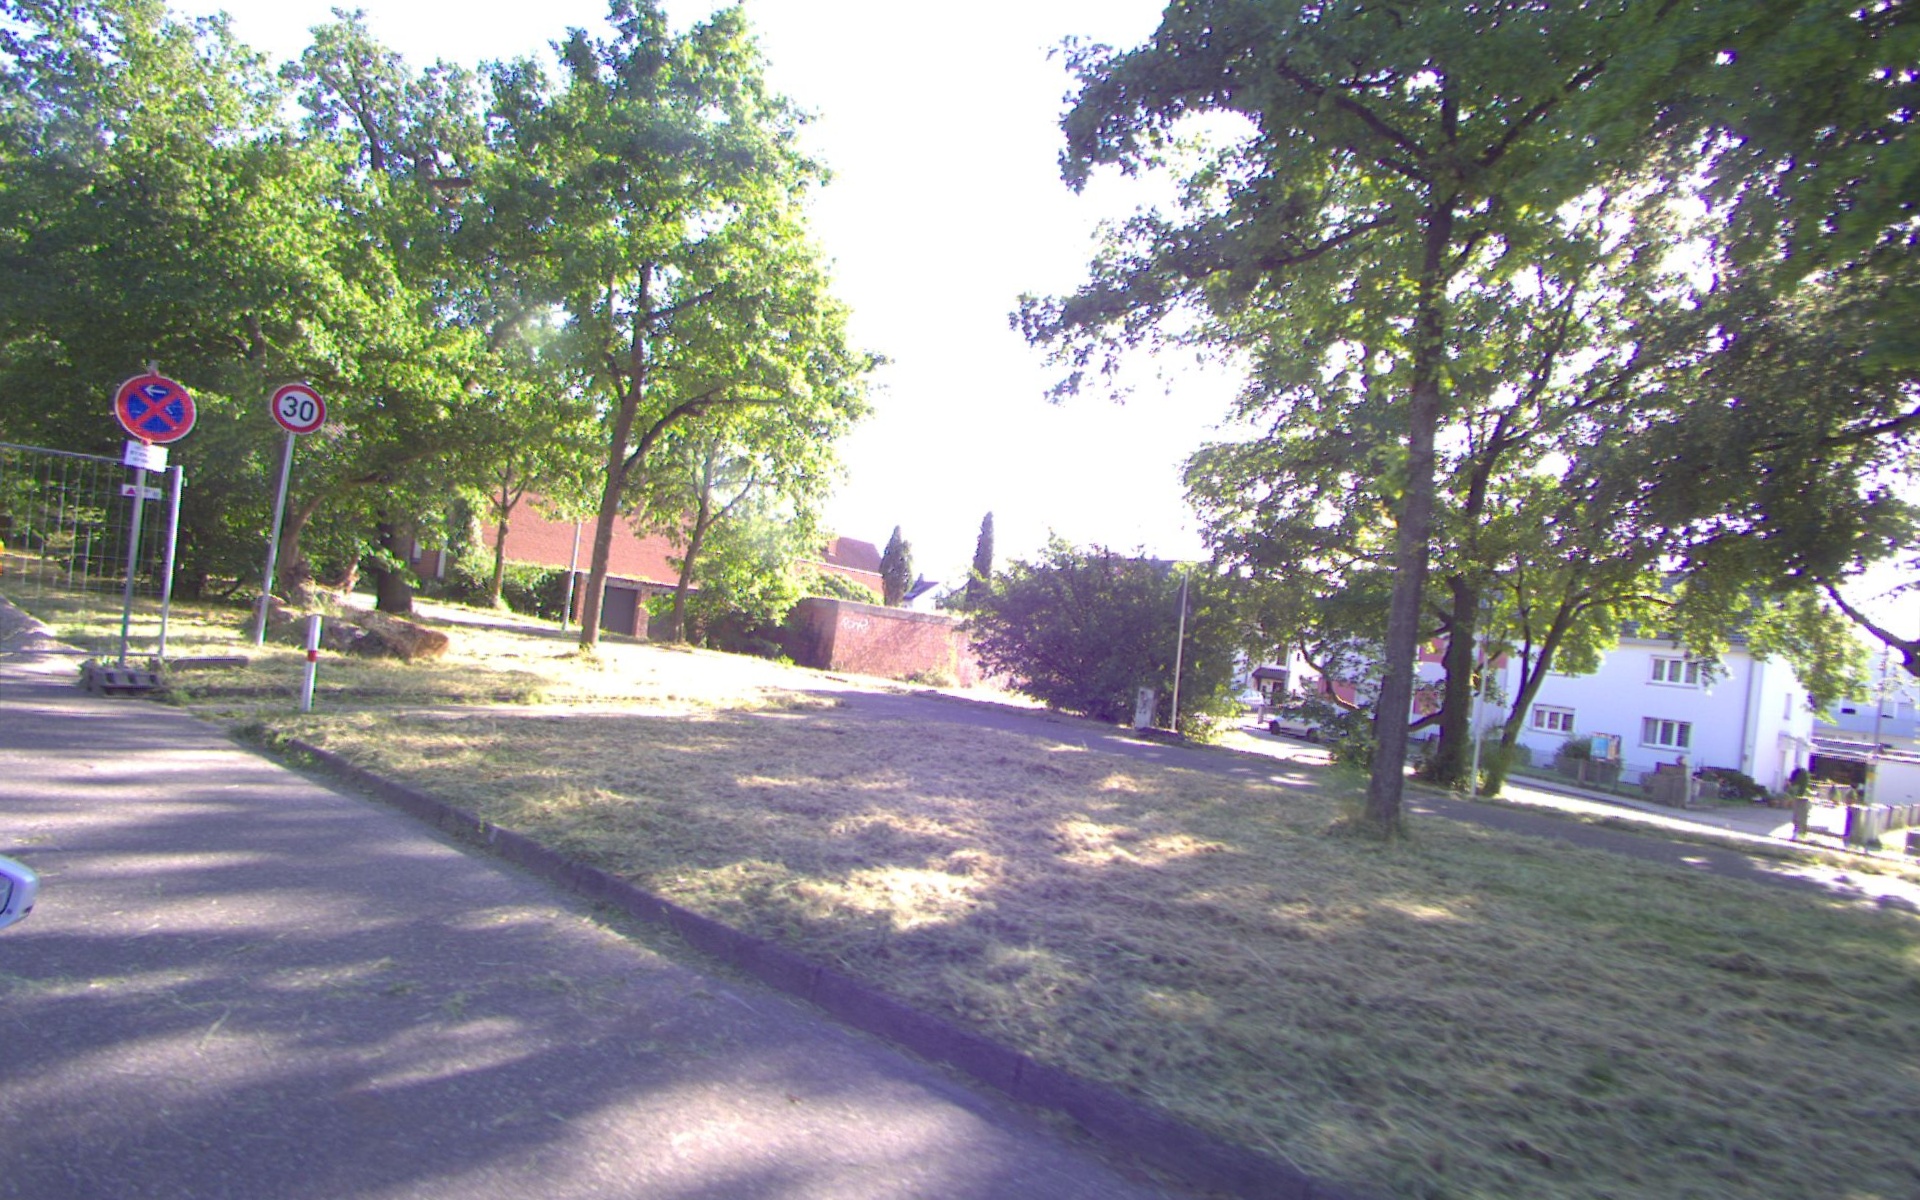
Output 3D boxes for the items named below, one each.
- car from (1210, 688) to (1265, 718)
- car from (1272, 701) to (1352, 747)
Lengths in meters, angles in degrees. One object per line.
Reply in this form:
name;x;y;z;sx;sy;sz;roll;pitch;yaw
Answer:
car;18.219;6.736;66.013;3.611;1.515;1.436;10;-3;-37
car;15.894;5.579;45.528;1.512;1.569;3.165;9;-2;-25
